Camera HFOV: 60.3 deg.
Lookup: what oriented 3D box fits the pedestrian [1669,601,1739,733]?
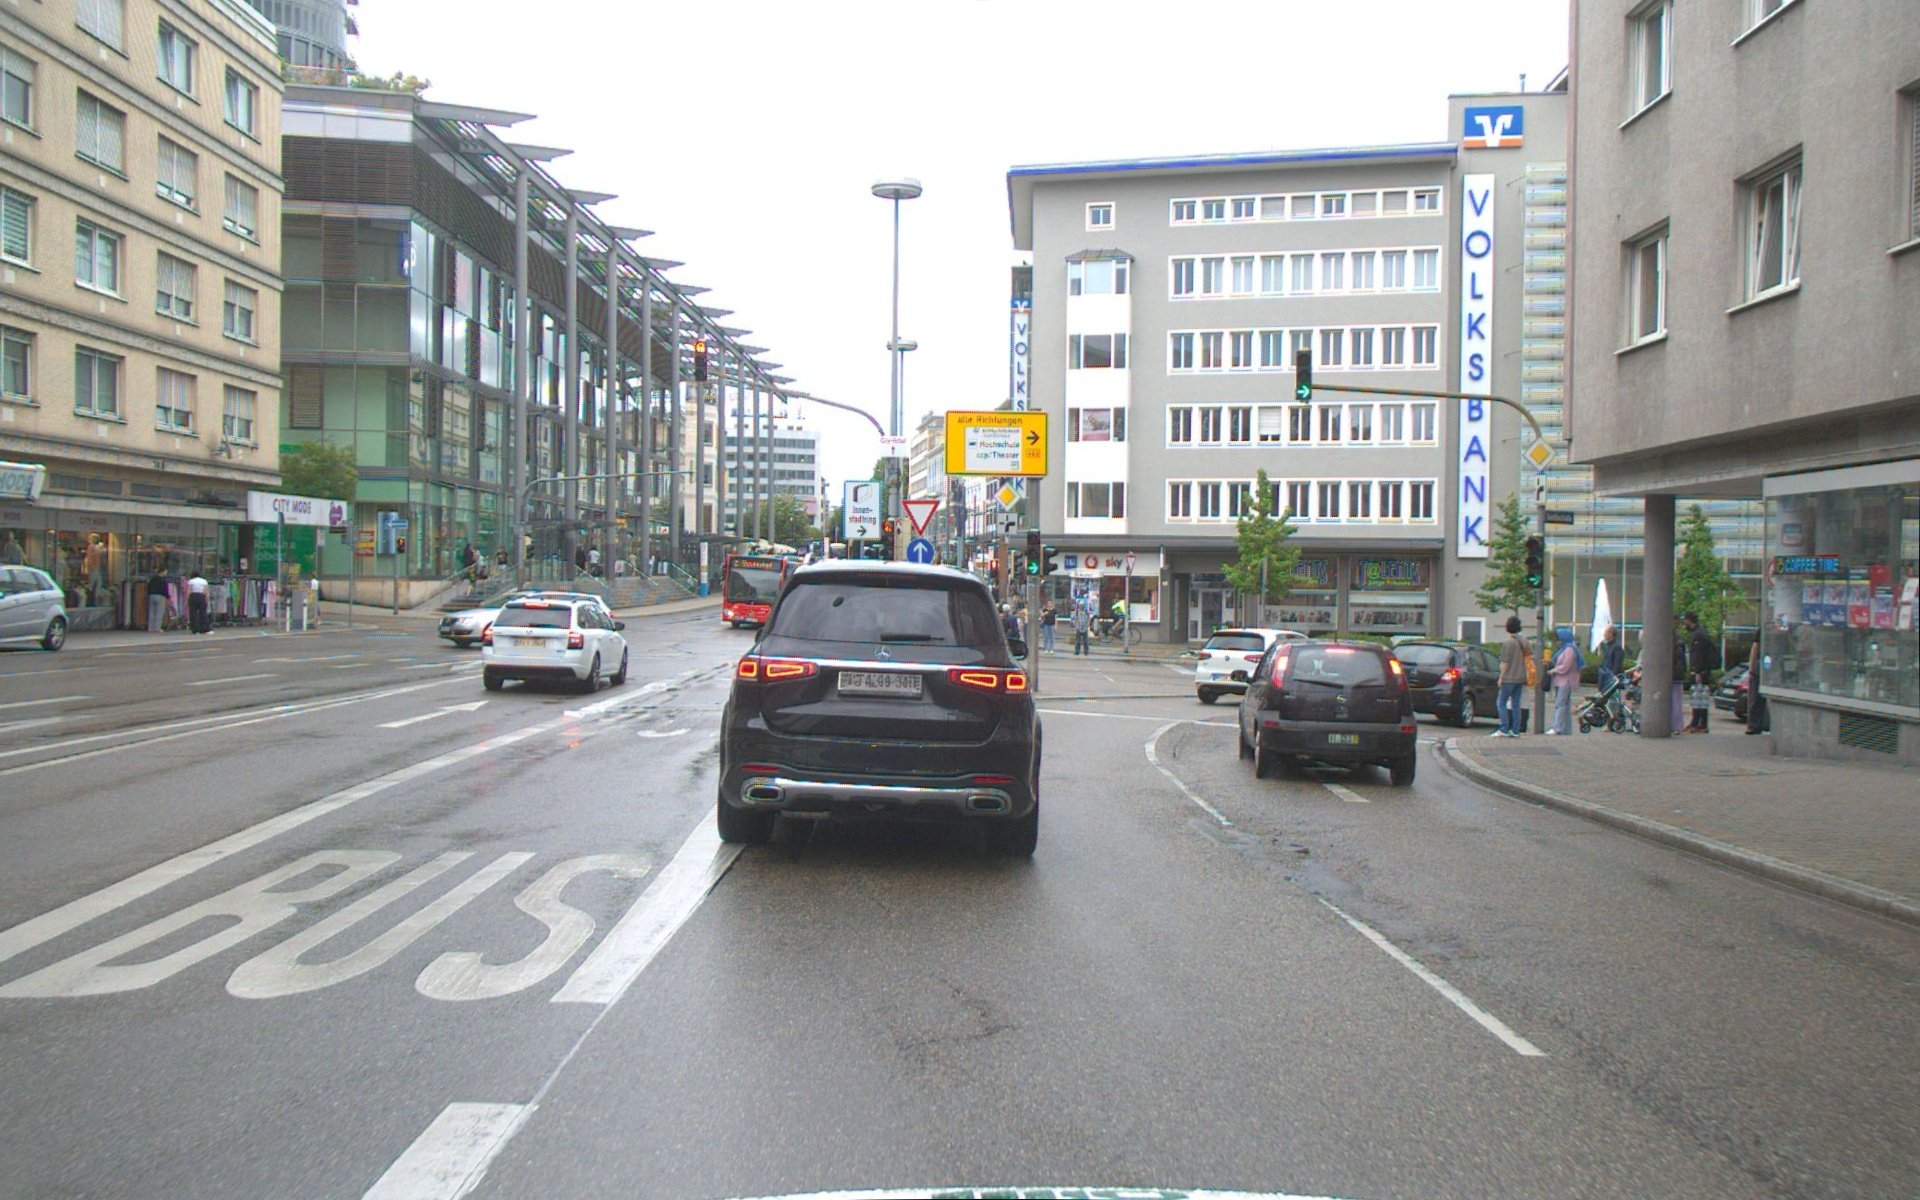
[{"bbox_3d":[11.348,1.012,25.245,0.800,1.965,0.732,1,-2,7],"label":"pedestrian"}]

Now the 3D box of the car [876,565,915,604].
[{"bbox_3d":[-6.270,-1.500,161.486,2.392,3.525,6.158,3,0,9],"label":"car"}]

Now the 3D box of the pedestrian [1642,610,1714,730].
[{"bbox_3d":[10.593,1.033,24.416,0.818,1.753,0.618,0,-3,7],"label":"pedestrian"}]

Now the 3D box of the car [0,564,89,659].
[{"bbox_3d":[-18.012,0.183,30.272,1.810,1.577,4.399,4,1,-2],"label":"car"}]

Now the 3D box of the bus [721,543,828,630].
[{"bbox_3d":[-8.232,-0.515,76.042,2.861,3.378,18.476,3,0,0],"label":"bus"}]

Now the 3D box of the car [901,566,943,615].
[{"bbox_3d":[-2.553,-0.599,109.418,2.396,3.009,6.149,3,0,-3],"label":"car"}]

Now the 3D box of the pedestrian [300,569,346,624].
[{"bbox_3d":[-19.526,-0.106,50.723,0.853,1.614,1.154,2,0,2],"label":"pedestrian"}]

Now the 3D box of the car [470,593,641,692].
[{"bbox_3d":[-6.584,0.631,27.427,1.756,1.440,4.630,2,0,-2],"label":"car"}]

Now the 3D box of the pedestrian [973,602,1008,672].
[{"bbox_3d":[0.692,0.823,37.132,0.690,1.514,0.560,3,-1,4],"label":"pedestrian"}]

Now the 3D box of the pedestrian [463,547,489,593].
[{"bbox_3d":[-21.854,-1.351,74.761,0.857,2.015,0.849,2,0,-1],"label":"pedestrian"}]

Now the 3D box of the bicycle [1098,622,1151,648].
[{"bbox_3d":[6.852,1.460,68.748,2.092,1.010,0.695,2,0,13],"label":"bicycle"}]

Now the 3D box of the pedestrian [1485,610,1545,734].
[{"bbox_3d":[7.912,1.025,23.566,0.615,1.722,0.779,-1,-3,34],"label":"pedestrian"}]

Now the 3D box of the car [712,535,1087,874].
[{"bbox_3d":[-0.498,0.558,11.616,2.046,1.848,4.789,1,1,-4],"label":"car"}]

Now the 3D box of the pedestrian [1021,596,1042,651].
[{"bbox_3d":[2.254,0.750,52.006,0.557,1.698,0.502,2,0,6],"label":"pedestrian"}]

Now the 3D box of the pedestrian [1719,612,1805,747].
[{"bbox_3d":[11.718,1.152,24.184,0.654,1.898,0.833,3,0,-21],"label":"pedestrian"}]

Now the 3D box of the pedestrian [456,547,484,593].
[{"bbox_3d":[-21.868,-1.343,73.825,0.863,2.015,0.974,2,0,-1],"label":"pedestrian"}]

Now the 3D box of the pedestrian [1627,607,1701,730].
[{"bbox_3d":[11.062,1.078,26.012,0.818,1.898,0.658,-1,-4,3],"label":"pedestrian"}]

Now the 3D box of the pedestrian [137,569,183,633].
[{"bbox_3d":[-20.148,0.029,41.672,0.769,1.563,0.681,3,0,-3],"label":"pedestrian"}]

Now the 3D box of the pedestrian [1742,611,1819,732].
[{"bbox_3d":[11.596,1.012,23.411,0.603,1.666,0.838,-2,-3,3],"label":"pedestrian"}]

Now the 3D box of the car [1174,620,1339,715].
[{"bbox_3d":[5.948,1.280,32.849,1.914,1.601,3.992,4,2,30],"label":"car"}]

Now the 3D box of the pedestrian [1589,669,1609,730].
[{"bbox_3d":[10.969,1.705,28.378,0.255,1.017,0.472,-3,-3,22],"label":"pedestrian"}]

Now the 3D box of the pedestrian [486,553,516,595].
[{"bbox_3d":[-20.062,-1.129,72.334,1.019,1.742,1.006,2,0,-6],"label":"pedestrian"}]

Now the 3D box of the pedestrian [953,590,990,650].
[{"bbox_3d":[0.361,0.618,52.416,0.991,1.818,0.852,3,0,-7],"label":"pedestrian"}]

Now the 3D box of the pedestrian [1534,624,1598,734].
[{"bbox_3d":[9.339,1.229,25.501,0.732,1.664,0.593,-4,-5,41],"label":"pedestrian"}]

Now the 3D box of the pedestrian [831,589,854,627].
[{"bbox_3d":[-6.052,0.402,85.399,0.934,1.919,0.810,3,0,6],"label":"pedestrian"}]

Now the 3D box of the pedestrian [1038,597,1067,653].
[{"bbox_3d":[2.906,0.784,51.994,0.764,1.718,0.639,3,0,8],"label":"pedestrian"}]

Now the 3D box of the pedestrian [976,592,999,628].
[{"bbox_3d":[1.433,0.530,85.844,1.002,1.806,0.799,3,0,-7],"label":"pedestrian"}]

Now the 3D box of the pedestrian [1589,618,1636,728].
[{"bbox_3d":[11.489,1.304,29.147,0.602,1.900,0.787,-2,-5,15],"label":"pedestrian"}]

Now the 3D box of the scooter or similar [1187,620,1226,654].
[{"bbox_3d":[9.178,1.377,61.570,1.351,1.208,0.544,1,0,19],"label":"scooter or similar"}]

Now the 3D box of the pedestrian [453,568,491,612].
[{"bbox_3d":[-20.059,-0.403,68.036,1.018,1.742,1.006,2,0,27],"label":"pedestrian"}]

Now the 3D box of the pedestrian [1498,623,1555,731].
[{"bbox_3d":[8.970,1.233,26.199,0.528,1.666,0.838,-2,-4,-1],"label":"pedestrian"}]

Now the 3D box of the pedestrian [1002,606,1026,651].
[{"bbox_3d":[1.696,0.882,52.052,0.618,1.362,0.587,3,0,-7],"label":"pedestrian"}]

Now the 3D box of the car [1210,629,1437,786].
[{"bbox_3d":[3.810,1.071,17.925,1.681,1.445,3.770,3,-1,2],"label":"car"}]

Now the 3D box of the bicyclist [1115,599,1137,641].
[{"bbox_3d":[6.897,0.819,68.750,0.826,1.734,0.623,1,0,13],"label":"bicyclist"}]

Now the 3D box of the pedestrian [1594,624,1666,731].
[{"bbox_3d":[11.215,1.288,27.712,1.013,1.753,0.839,0,-1,16],"label":"pedestrian"}]

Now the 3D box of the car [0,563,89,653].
[{"bbox_3d":[-17.969,0.120,30.325,1.665,1.590,4.202,2,0,1],"label":"car"}]

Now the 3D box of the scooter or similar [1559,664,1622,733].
[{"bbox_3d":[10.630,1.649,27.901,0.949,1.128,0.655,-1,-1,18],"label":"scooter or similar"}]

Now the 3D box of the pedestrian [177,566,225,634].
[{"bbox_3d":[-19.153,-0.001,41.749,0.839,1.656,0.762,3,0,-44],"label":"pedestrian"}]

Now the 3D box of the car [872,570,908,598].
[{"bbox_3d":[-5.046,-1.137,119.361,2.374,1.811,5.153,3,0,-1],"label":"car"}]

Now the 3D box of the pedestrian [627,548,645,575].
[{"bbox_3d":[-21.687,-2.556,110.608,1.019,1.742,1.006,2,0,-6],"label":"pedestrian"}]

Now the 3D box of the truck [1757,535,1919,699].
[{"bbox_3d":[28.802,0.614,47.184,10.512,4.409,2.857,2,0,3],"label":"truck"}]

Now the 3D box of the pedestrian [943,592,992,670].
[{"bbox_3d":[0.179,0.702,38.017,0.958,1.701,0.915,3,0,5],"label":"pedestrian"}]

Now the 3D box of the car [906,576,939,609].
[{"bbox_3d":[-2.368,-0.467,102.861,1.824,1.857,4.101,3,0,-3],"label":"car"}]

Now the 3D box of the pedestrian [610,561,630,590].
[{"bbox_3d":[-20.864,-1.493,101.509,1.019,1.742,1.006,2,0,-6],"label":"pedestrian"}]

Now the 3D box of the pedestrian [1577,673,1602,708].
[{"bbox_3d":[10.624,1.522,27.935,0.363,0.581,0.458,-1,-1,18],"label":"pedestrian"}]

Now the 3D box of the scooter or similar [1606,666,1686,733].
[{"bbox_3d":[10.467,1.519,25.257,0.754,1.003,1.048,0,-4,-2],"label":"scooter or similar"}]

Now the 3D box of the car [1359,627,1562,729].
[{"bbox_3d":[9.245,1.380,30.404,1.924,1.601,3.972,5,2,44],"label":"car"}]

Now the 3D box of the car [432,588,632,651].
[{"bbox_3d":[-11.085,0.520,42.981,4.705,1.471,1.767,2,0,-38],"label":"car"}]

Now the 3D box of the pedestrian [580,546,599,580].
[{"bbox_3d":[-19.985,-1.993,89.202,0.811,1.742,0.801,2,0,-6],"label":"pedestrian"}]

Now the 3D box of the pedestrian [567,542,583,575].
[{"bbox_3d":[-20.719,-2.220,89.048,0.668,1.742,0.849,2,0,-6],"label":"pedestrian"}]

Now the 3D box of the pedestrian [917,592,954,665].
[{"bbox_3d":[-0.590,0.696,40.258,0.740,1.721,0.694,3,-2,4],"label":"pedestrian"}]

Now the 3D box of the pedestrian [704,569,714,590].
[{"bbox_3d":[-16.646,-1.341,109.807,0.499,1.364,0.420,3,0,7],"label":"pedestrian"}]

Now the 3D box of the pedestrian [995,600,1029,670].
[{"bbox_3d":[1.224,0.820,38.992,0.698,1.595,0.855,3,-1,4],"label":"pedestrian"}]

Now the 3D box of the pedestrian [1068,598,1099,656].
[{"bbox_3d":[3.971,0.852,53.154,0.814,1.809,0.617,3,0,-7],"label":"pedestrian"}]
